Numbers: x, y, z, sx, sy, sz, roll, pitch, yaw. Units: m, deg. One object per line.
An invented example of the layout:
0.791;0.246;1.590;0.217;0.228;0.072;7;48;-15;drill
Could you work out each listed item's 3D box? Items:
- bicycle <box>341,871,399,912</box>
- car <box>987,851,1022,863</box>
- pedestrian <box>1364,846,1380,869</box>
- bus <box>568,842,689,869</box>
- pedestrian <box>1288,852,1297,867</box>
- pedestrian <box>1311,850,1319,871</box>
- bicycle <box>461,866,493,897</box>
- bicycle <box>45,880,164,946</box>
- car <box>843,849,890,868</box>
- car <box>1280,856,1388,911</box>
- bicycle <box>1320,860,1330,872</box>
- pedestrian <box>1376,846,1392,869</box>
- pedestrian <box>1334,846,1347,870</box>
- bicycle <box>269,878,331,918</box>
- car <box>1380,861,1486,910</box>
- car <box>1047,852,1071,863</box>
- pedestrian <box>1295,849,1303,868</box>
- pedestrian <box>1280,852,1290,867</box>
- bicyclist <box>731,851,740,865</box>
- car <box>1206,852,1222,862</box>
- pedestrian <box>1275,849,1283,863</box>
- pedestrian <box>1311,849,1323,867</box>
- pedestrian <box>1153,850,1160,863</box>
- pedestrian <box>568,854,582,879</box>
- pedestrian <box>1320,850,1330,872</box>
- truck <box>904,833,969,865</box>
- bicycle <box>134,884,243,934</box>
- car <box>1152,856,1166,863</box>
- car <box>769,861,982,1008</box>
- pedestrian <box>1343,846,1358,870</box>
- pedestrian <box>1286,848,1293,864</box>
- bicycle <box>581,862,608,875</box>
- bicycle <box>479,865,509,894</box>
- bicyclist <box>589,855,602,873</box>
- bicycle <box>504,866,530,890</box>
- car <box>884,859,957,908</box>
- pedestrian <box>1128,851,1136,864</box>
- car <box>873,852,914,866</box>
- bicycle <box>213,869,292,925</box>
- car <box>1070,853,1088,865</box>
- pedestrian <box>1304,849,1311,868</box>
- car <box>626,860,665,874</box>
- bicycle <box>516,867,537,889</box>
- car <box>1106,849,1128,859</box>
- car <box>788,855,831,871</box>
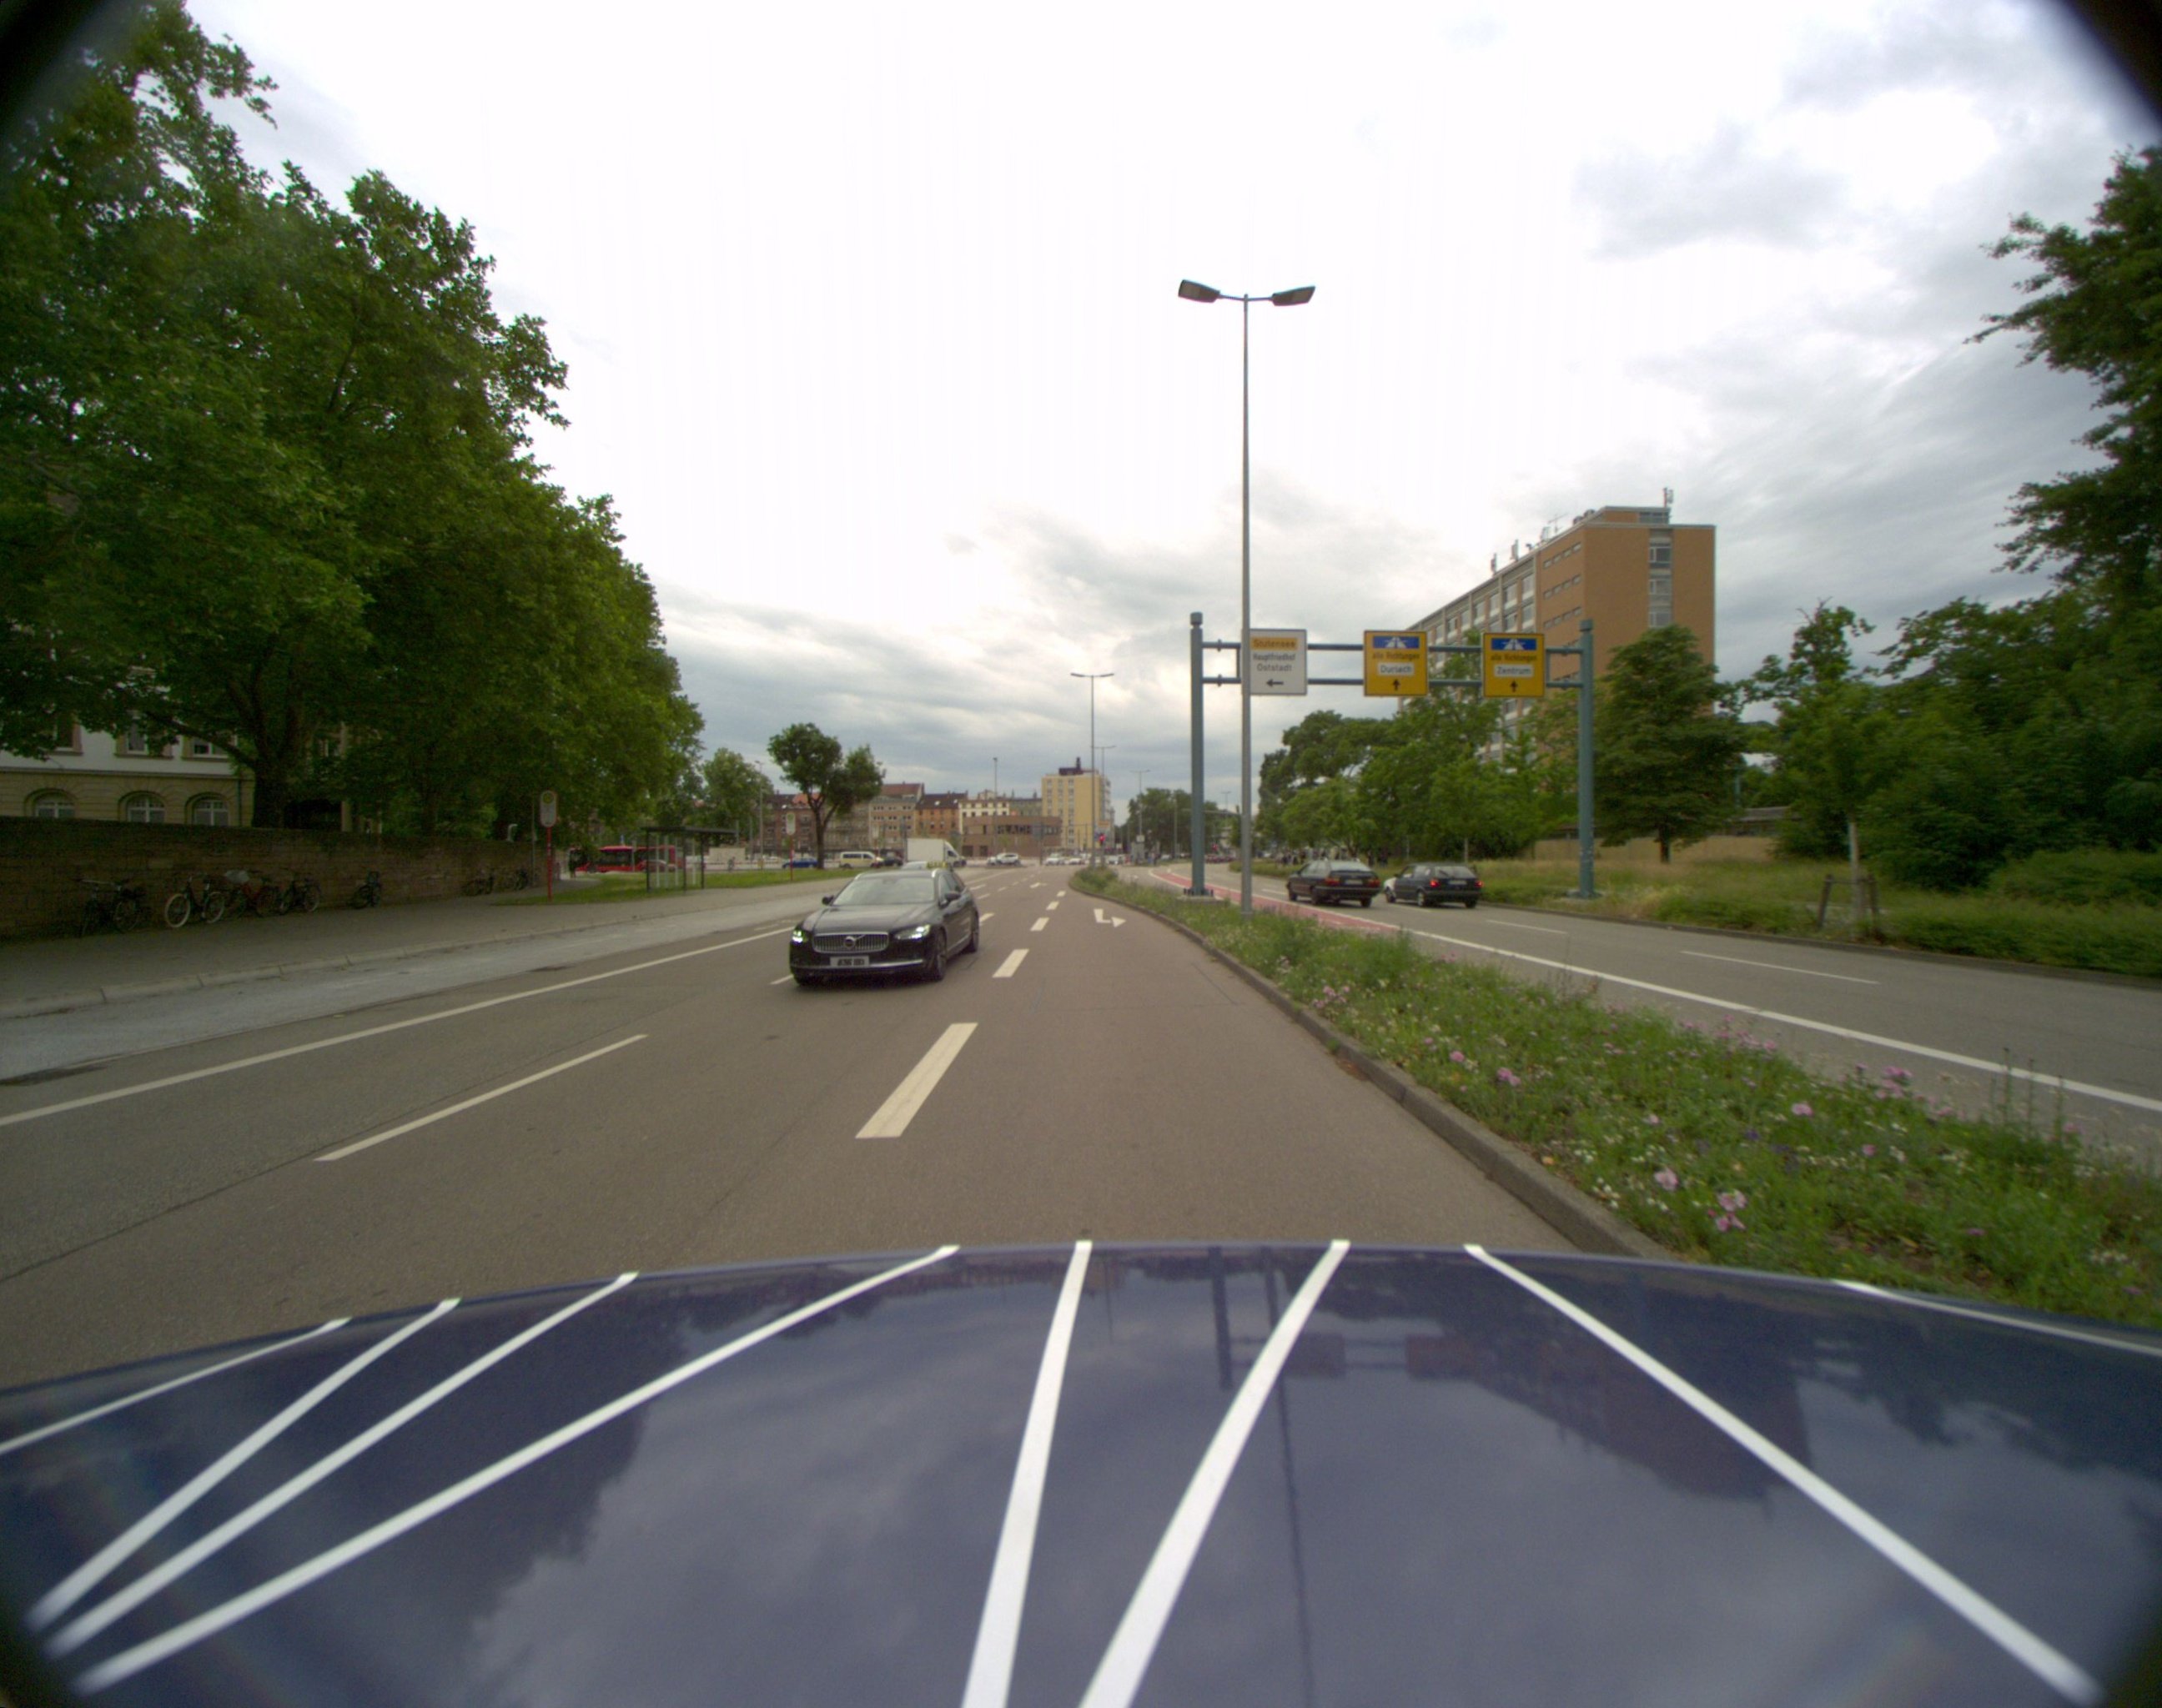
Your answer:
-20.519;1.052;21.954;0.599;1.098;1.652;1;0;-19;bicycle
-9.437;0.347;93.938;4.041;1.466;1.815;1;0;-38;car
17.725;0.201;46.320;0.646;1.350;0.711;1;0;-1;pedestrian
-52.809;0.208;88.980;12.091;2.891;2.937;-1;0;-3;bus
20.610;0.532;73.999;0.637;1.471;0.762;1;0;4;pedestrian
17.976;0.528;58.404;0.575;1.599;0.617;1;0;16;pedestrian
-23.668;1.072;29.810;0.596;1.129;1.709;1;0;-25;bicycle
-18.436;1.076;14.397;0.722;1.093;1.788;1;0;-28;bicycle
-23.948;0.485;85.070;4.712;1.909;1.919;-1;3;-3;car
7.835;0.842;24.027;1.768;1.452;4.791;1;1;0;car
18.752;0.922;58.457;0.661;0.882;1.717;1;0;16;bicycle
18.455;0.211;46.327;0.646;1.354;0.680;1;0;-2;pedestrian
18.066;0.245;52.974;0.587;1.650;0.720;1;0;-5;pedestrian
-20.050;1.123;19.538;0.417;0.937;1.523;1;0;-17;bicycle
10.962;0.936;23.956;1.612;1.373;3.808;1;0;1;car
-2.868;0.433;101.047;1.514;1.382;3.439;1;0;32;car
19.404;0.430;67.619;0.622;1.685;0.748;1;0;21;pedestrian
19.865;0.532;74.030;0.730;1.471;0.813;1;0;4;pedestrian
-37.350;0.383;82.119;0.740;1.499;0.767;1;0;-10;bicyclist
22.883;0.507;130.313;1.812;1.657;3.955;1;1;23;car
23.066;0.256;88.656;0.708;1.661;0.943;-1;0;4;pedestrian
21.458;0.333;69.142;0.635;1.603;0.829;-2;0;-21;pedestrian
9.952;0.307;100.094;0.777;1.657;0.706;1;0;-8;pedestrian
-35.957;0.878;54.013;0.759;1.725;0.820;1;1;-39;pedestrian
18.758;0.529;58.453;0.661;1.622;0.764;1;0;16;pedestrian
-16.254;-0.625;85.739;6.852;3.393;2.559;-1;2;-5;truck
-19.032;1.143;16.252;0.656;0.945;1.767;1;0;-17;bicycle
15.241;1.154;148.406;1.782;1.255;3.536;-1;1;19;car
-2.697;0.963;11.120;1.888;1.591;4.446;-2;0;-1;car
18.812;0.262;52.967;0.709;1.663;0.767;1;0;-5;pedestrian
23.083;0.210;84.040;0.638;1.790;0.762;-1;0;4;pedestrian
-51.989;1.584;81.197;2.391;1.316;0.764;1;0;-6;bicycle
-24.269;1.054;31.440;0.596;1.123;1.709;1;0;-25;bicycle
-51.913;1.084;81.204;0.896;1.849;0.764;1;0;-5;bicyclist
-25.654;1.080;34.568;0.596;1.053;1.709;1;0;-25;bicycle
-5.425;0.962;26.087;1.671;1.457;3.659;-1;1;0;car
6.752;0.460;99.630;0.917;1.794;0.541;1;0;17;pedestrian
-22.089;0.584;89.569;4.283;1.628;1.690;1;0;1;car
-19.581;0.986;17.990;0.501;1.214;1.624;1;0;-17;bicycle
-0.337;0.702;111.172;1.836;1.753;3.915;1;0;12;car
20.101;0.401;67.409;0.579;1.702;0.763;1;0;18;pedestrian
-48.116;1.449;83.971;3.431;1.372;1.288;-1;-7;-5;car
-26.366;1.114;36.138;0.552;0.986;1.633;1;0;-28;bicycle
5.470;0.056;115.477;1.837;1.465;3.718;1;0;27;car
-32.105;1.054;89.919;4.429;1.735;1.764;1;0;-3;car
